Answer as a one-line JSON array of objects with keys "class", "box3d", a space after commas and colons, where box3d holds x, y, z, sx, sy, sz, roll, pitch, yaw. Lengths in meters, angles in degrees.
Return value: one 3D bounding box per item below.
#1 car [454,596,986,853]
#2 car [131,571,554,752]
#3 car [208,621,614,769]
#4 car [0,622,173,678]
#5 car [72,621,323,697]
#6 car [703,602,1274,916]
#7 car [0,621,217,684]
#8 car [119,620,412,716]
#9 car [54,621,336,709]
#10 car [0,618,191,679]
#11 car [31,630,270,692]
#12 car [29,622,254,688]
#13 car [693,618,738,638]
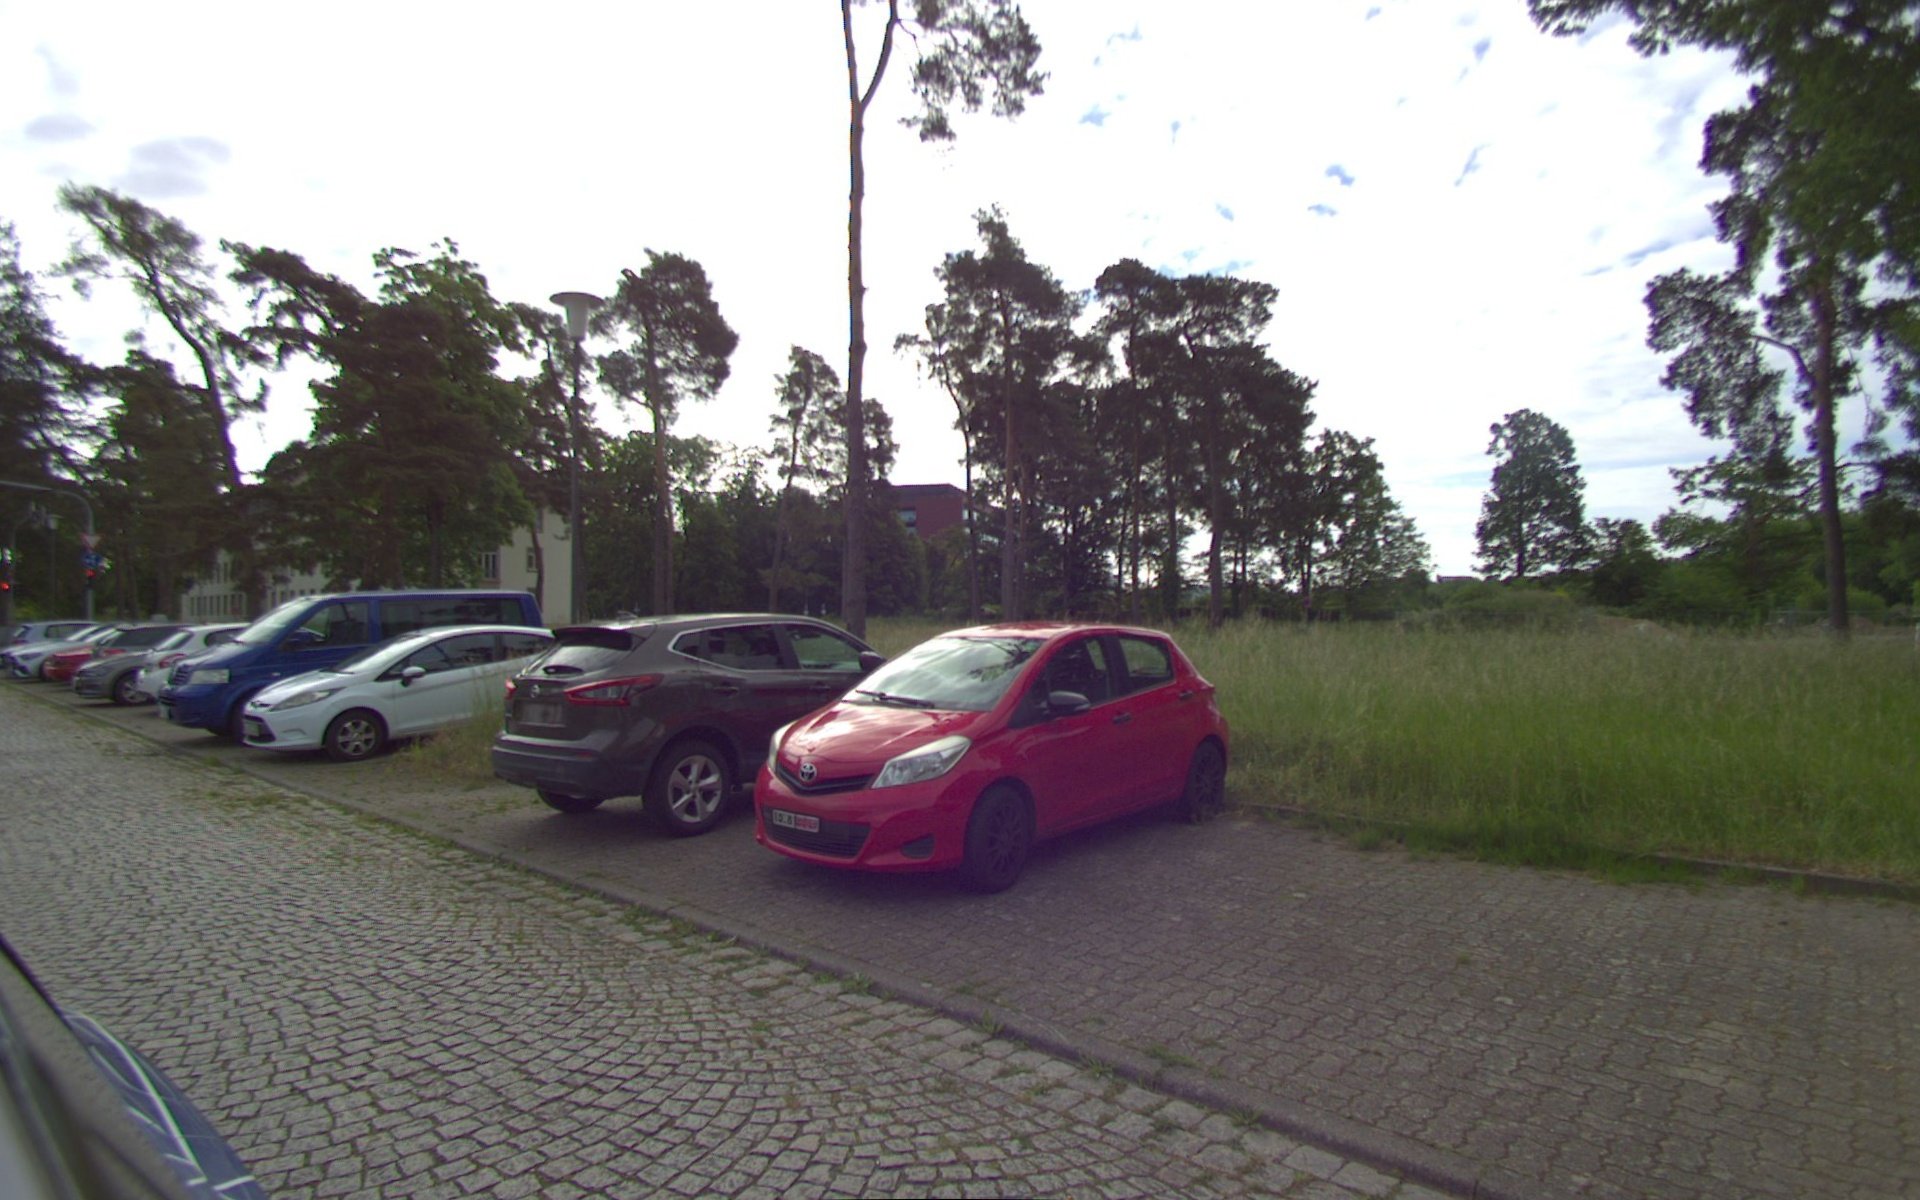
[{"class": "car", "box3d": [-1.801, 0.839, 8.698, 1.984, 1.634, 4.126, -1, -2, 38]}, {"class": "car", "box3d": [-8.573, 0.777, 14.443, 2.114, 2.138, 4.733, -1, -2, 40]}, {"class": "car", "box3d": [-6.664, 1.035, 12.685, 1.779, 1.522, 4.125, -1, -2, 39]}, {"class": "car", "box3d": [-26.308, 1.437, 30.384, 1.904, 1.555, 3.946, -1, -2, 40]}, {"class": "car", "box3d": [-16.546, 1.213, 22.116, 1.845, 1.493, 4.122, -2, -2, 42]}, {"class": "car", "box3d": [0.471, 0.816, 7.138, 1.906, 1.522, 4.124, -1, -2, 40]}, {"class": "car", "box3d": [-22.384, 1.310, 26.556, 1.933, 1.519, 4.331, -1, -2, 39]}, {"class": "car", "box3d": [-12.341, 1.121, 18.165, 1.845, 1.509, 4.024, -2, -2, 42]}, {"class": "car", "box3d": [-14.761, 1.180, 19.704, 1.864, 1.503, 4.121, -2, -2, 42]}, {"class": "car", "box3d": [-24.431, 1.299, 28.384, 1.933, 1.560, 4.210, -1, -2, 37]}, {"class": "car", "box3d": [-18.772, 1.356, 23.595, 1.831, 1.276, 4.121, -2, -2, 42]}, {"class": "car", "box3d": [-20.395, 1.303, 25.347, 1.863, 1.488, 4.123, -1, -2, 40]}, {"class": "car", "box3d": [-23.580, 2.695, 97.852, 1.722, 1.820, 3.942, -2, -2, 44]}]
